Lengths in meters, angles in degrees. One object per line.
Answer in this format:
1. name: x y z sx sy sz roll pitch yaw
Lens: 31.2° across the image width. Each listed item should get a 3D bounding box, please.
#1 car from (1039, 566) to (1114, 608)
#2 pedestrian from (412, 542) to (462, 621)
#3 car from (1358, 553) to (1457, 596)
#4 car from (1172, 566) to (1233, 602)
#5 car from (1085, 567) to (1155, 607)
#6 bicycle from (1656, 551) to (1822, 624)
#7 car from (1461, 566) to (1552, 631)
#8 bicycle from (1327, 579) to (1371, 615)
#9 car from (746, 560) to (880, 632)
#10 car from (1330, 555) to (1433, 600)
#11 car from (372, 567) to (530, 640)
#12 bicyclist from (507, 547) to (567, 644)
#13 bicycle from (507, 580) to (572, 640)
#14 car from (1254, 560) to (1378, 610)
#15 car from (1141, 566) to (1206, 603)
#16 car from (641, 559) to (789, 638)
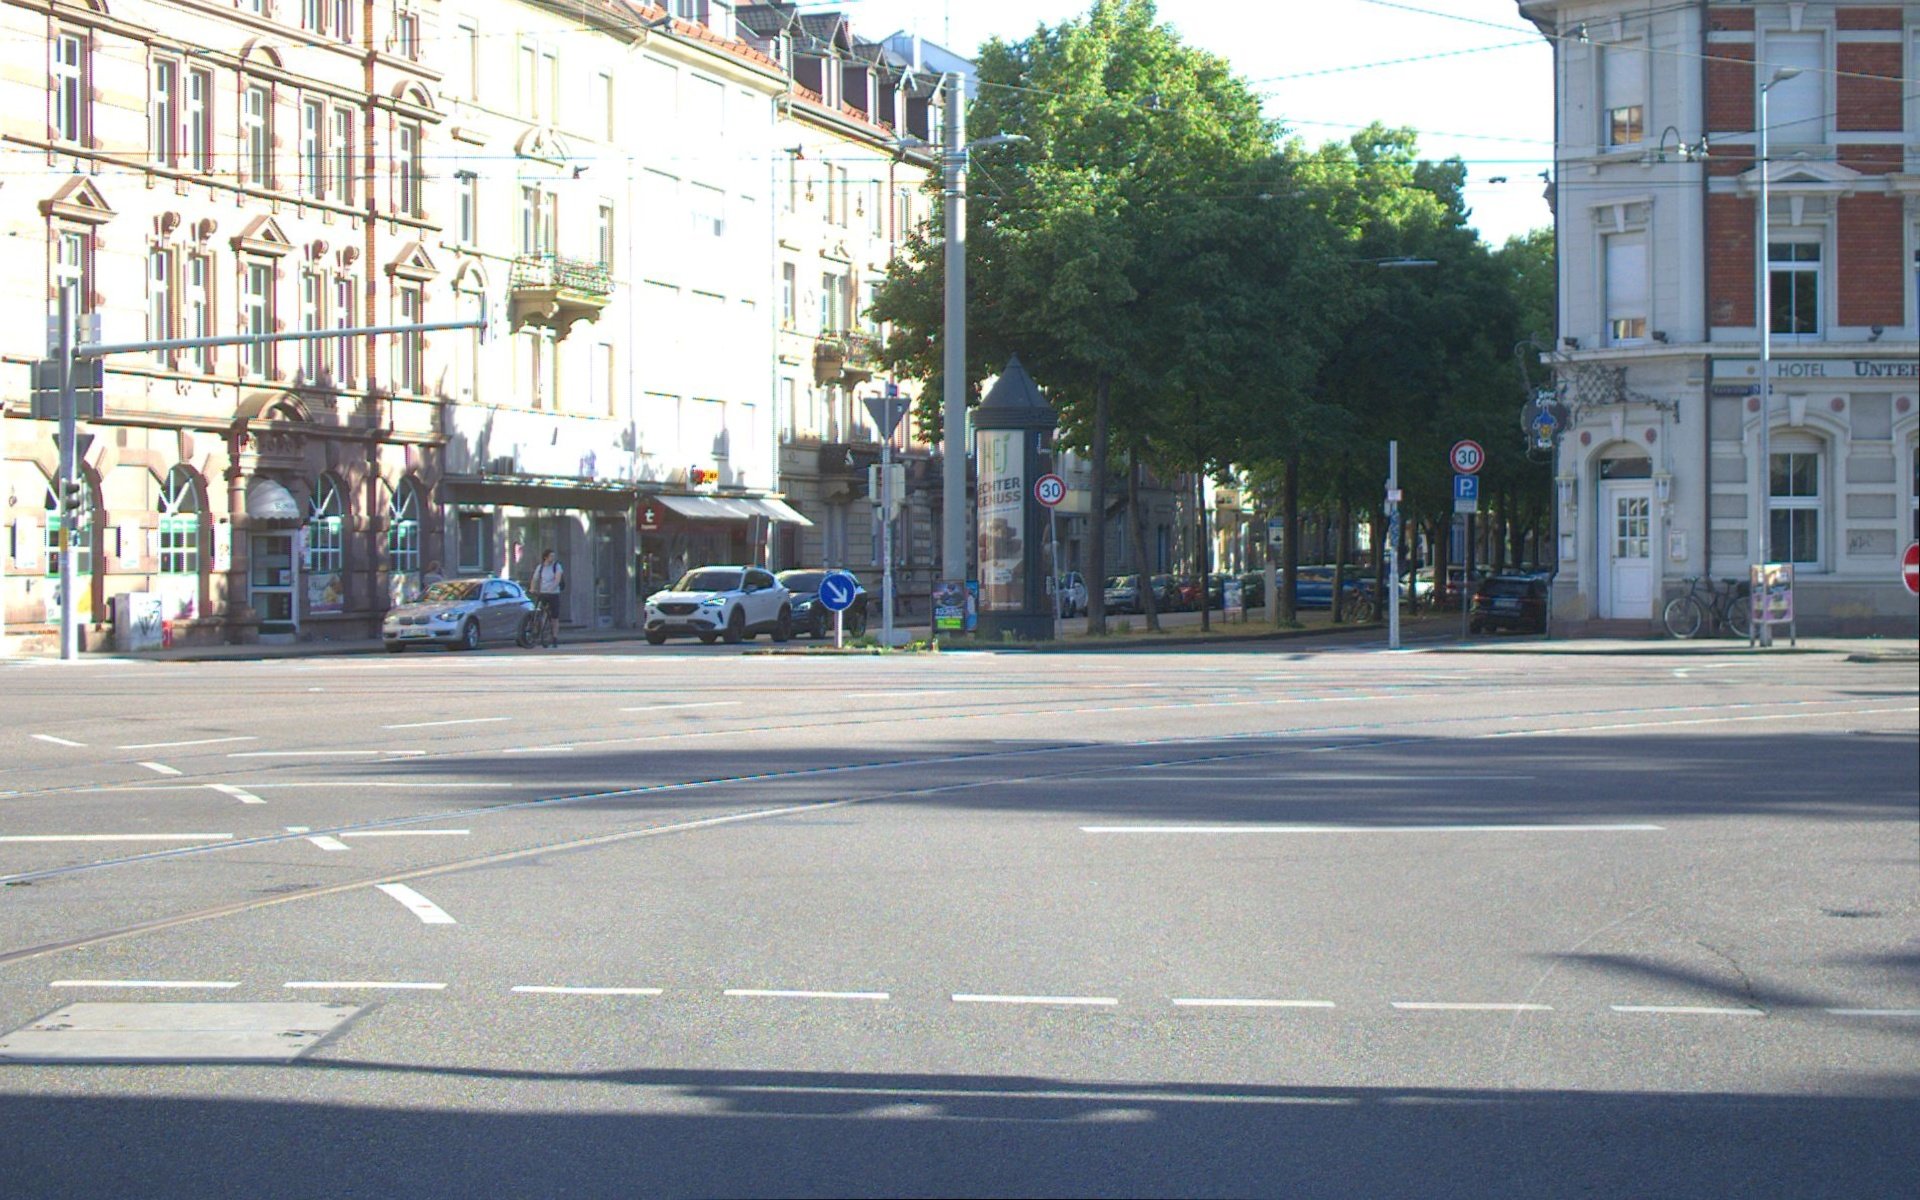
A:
1. car: 3.929 -0.439 115.480 1.678 1.349 3.588 0 1 16
2. pedestrian: -11.176 -0.404 73.455 0.776 1.664 0.830 1 0 15
3. car: 17.381 -0.994 133.510 3.582 1.642 1.681 0 1 17
4. car: 9.605 -0.648 135.779 1.678 1.349 3.588 0 1 16
5. car: 5.699 -0.475 122.442 1.678 1.349 3.588 0 1 16
6. bicycle: 12.974 -0.205 57.278 2.554 1.170 0.819 1 0 -3
7. car: 13.150 -0.053 82.576 1.678 1.478 3.945 0 1 16
8. bicycle: 11.259 -0.099 99.486 0.636 1.018 1.847 1 1 -14
9. car: -3.118 -0.100 73.615 1.678 1.478 3.945 0 1 16
10. car: 15.707 -0.840 128.036 3.582 1.642 1.681 0 1 17
11. car: -9.869 0.056 66.908 1.678 1.349 3.588 0 1 16
12. bicyclist: -8.011 -0.087 65.137 0.779 1.797 1.055 1 0 14
13. bicycle: -7.976 0.185 65.264 0.702 1.114 1.634 1 1 13
14. car: 11.987 -0.504 115.680 3.905 1.642 1.681 0 1 17
15. car: 8.134 -0.609 130.749 1.678 1.349 3.588 0 1 16
16. car: -4.759 -0.051 67.313 1.678 1.478 3.768 0 1 16
